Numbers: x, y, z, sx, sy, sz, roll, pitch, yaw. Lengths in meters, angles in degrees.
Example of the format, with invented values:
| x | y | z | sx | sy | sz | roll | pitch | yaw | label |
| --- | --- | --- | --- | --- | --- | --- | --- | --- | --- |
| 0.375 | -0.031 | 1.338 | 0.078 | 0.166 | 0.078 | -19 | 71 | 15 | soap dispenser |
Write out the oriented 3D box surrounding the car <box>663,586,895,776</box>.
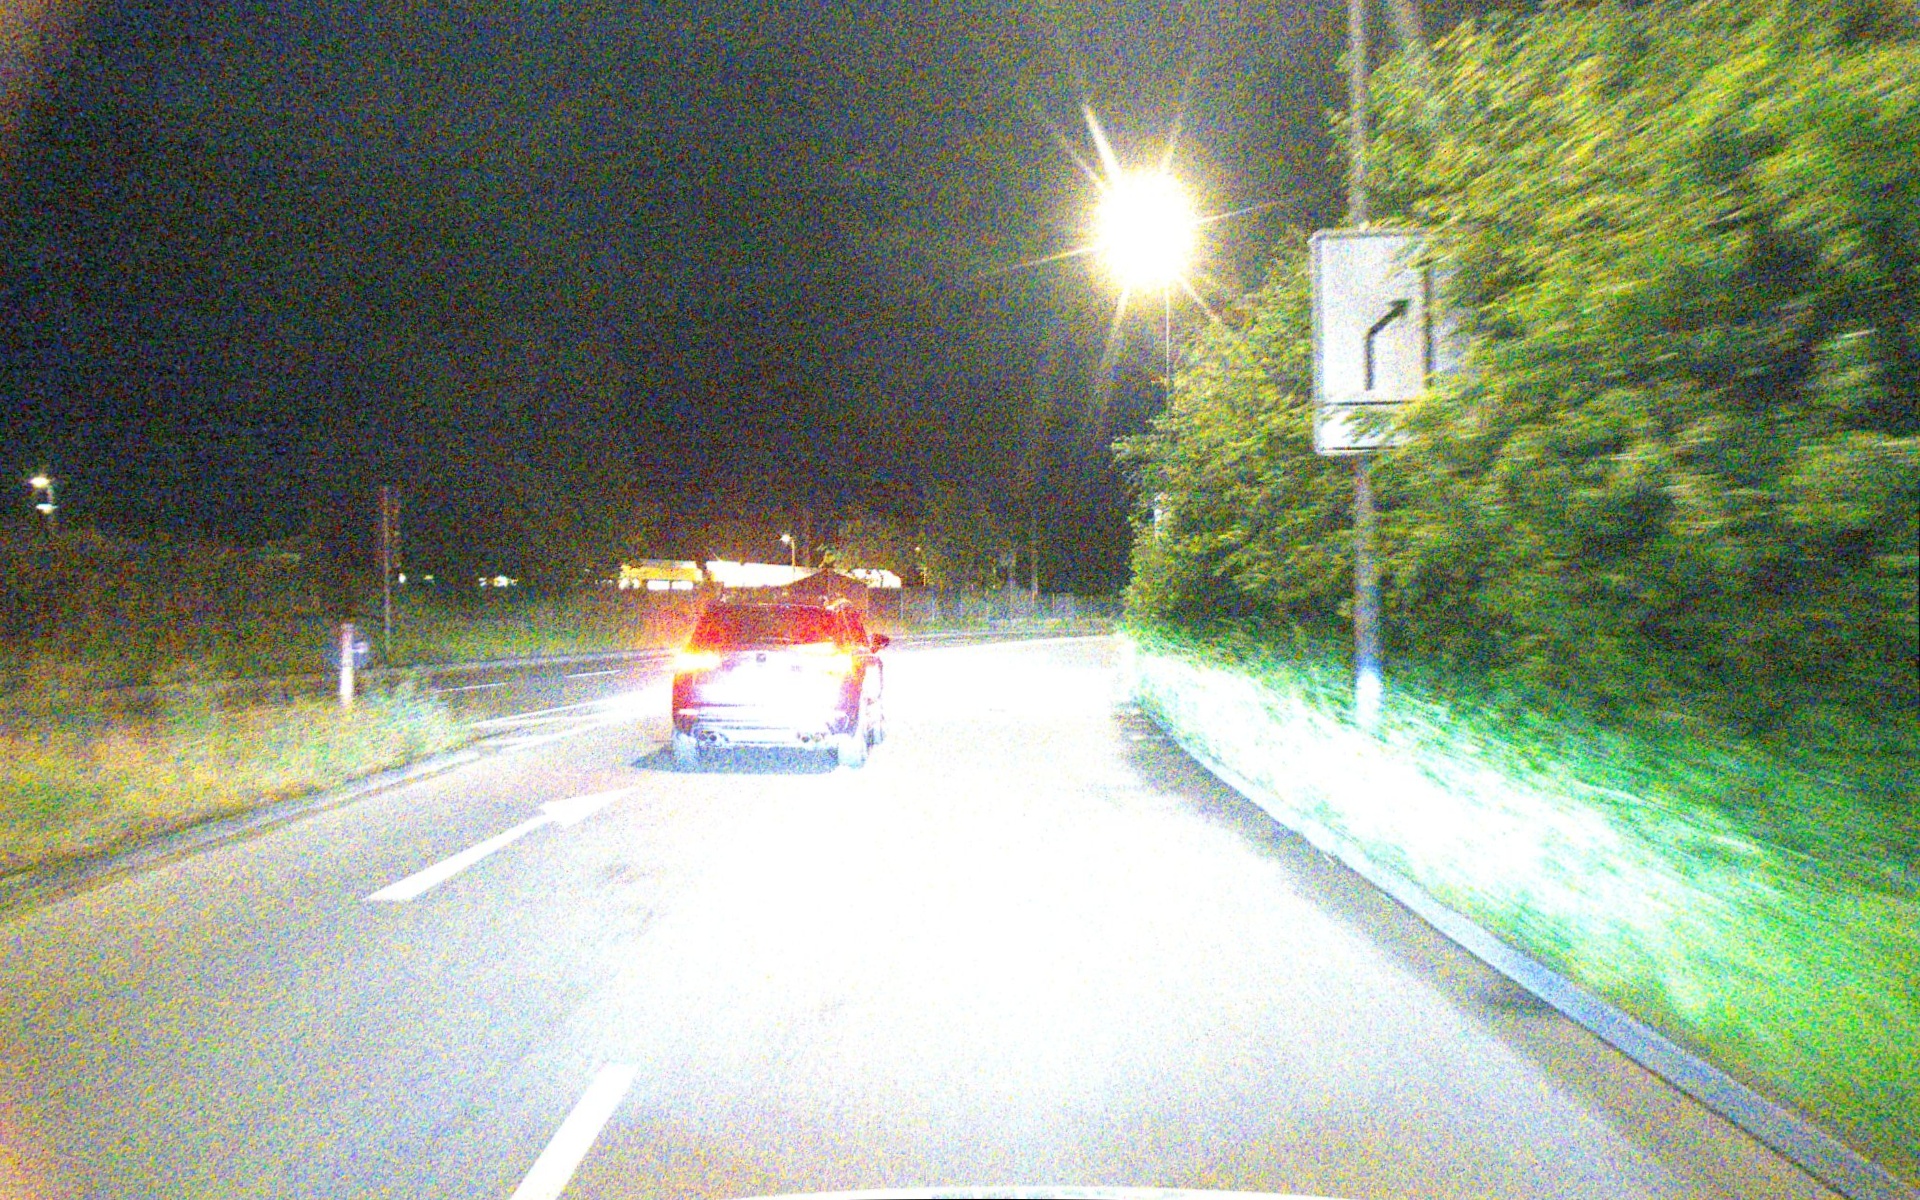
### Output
| x | y | z | sx | sy | sz | roll | pitch | yaw | label |
| --- | --- | --- | --- | --- | --- | --- | --- | --- | --- |
| -1.656 | 0.701 | 16.424 | 1.814 | 1.610 | 4.007 | 1 | 0 | 0 | car |
